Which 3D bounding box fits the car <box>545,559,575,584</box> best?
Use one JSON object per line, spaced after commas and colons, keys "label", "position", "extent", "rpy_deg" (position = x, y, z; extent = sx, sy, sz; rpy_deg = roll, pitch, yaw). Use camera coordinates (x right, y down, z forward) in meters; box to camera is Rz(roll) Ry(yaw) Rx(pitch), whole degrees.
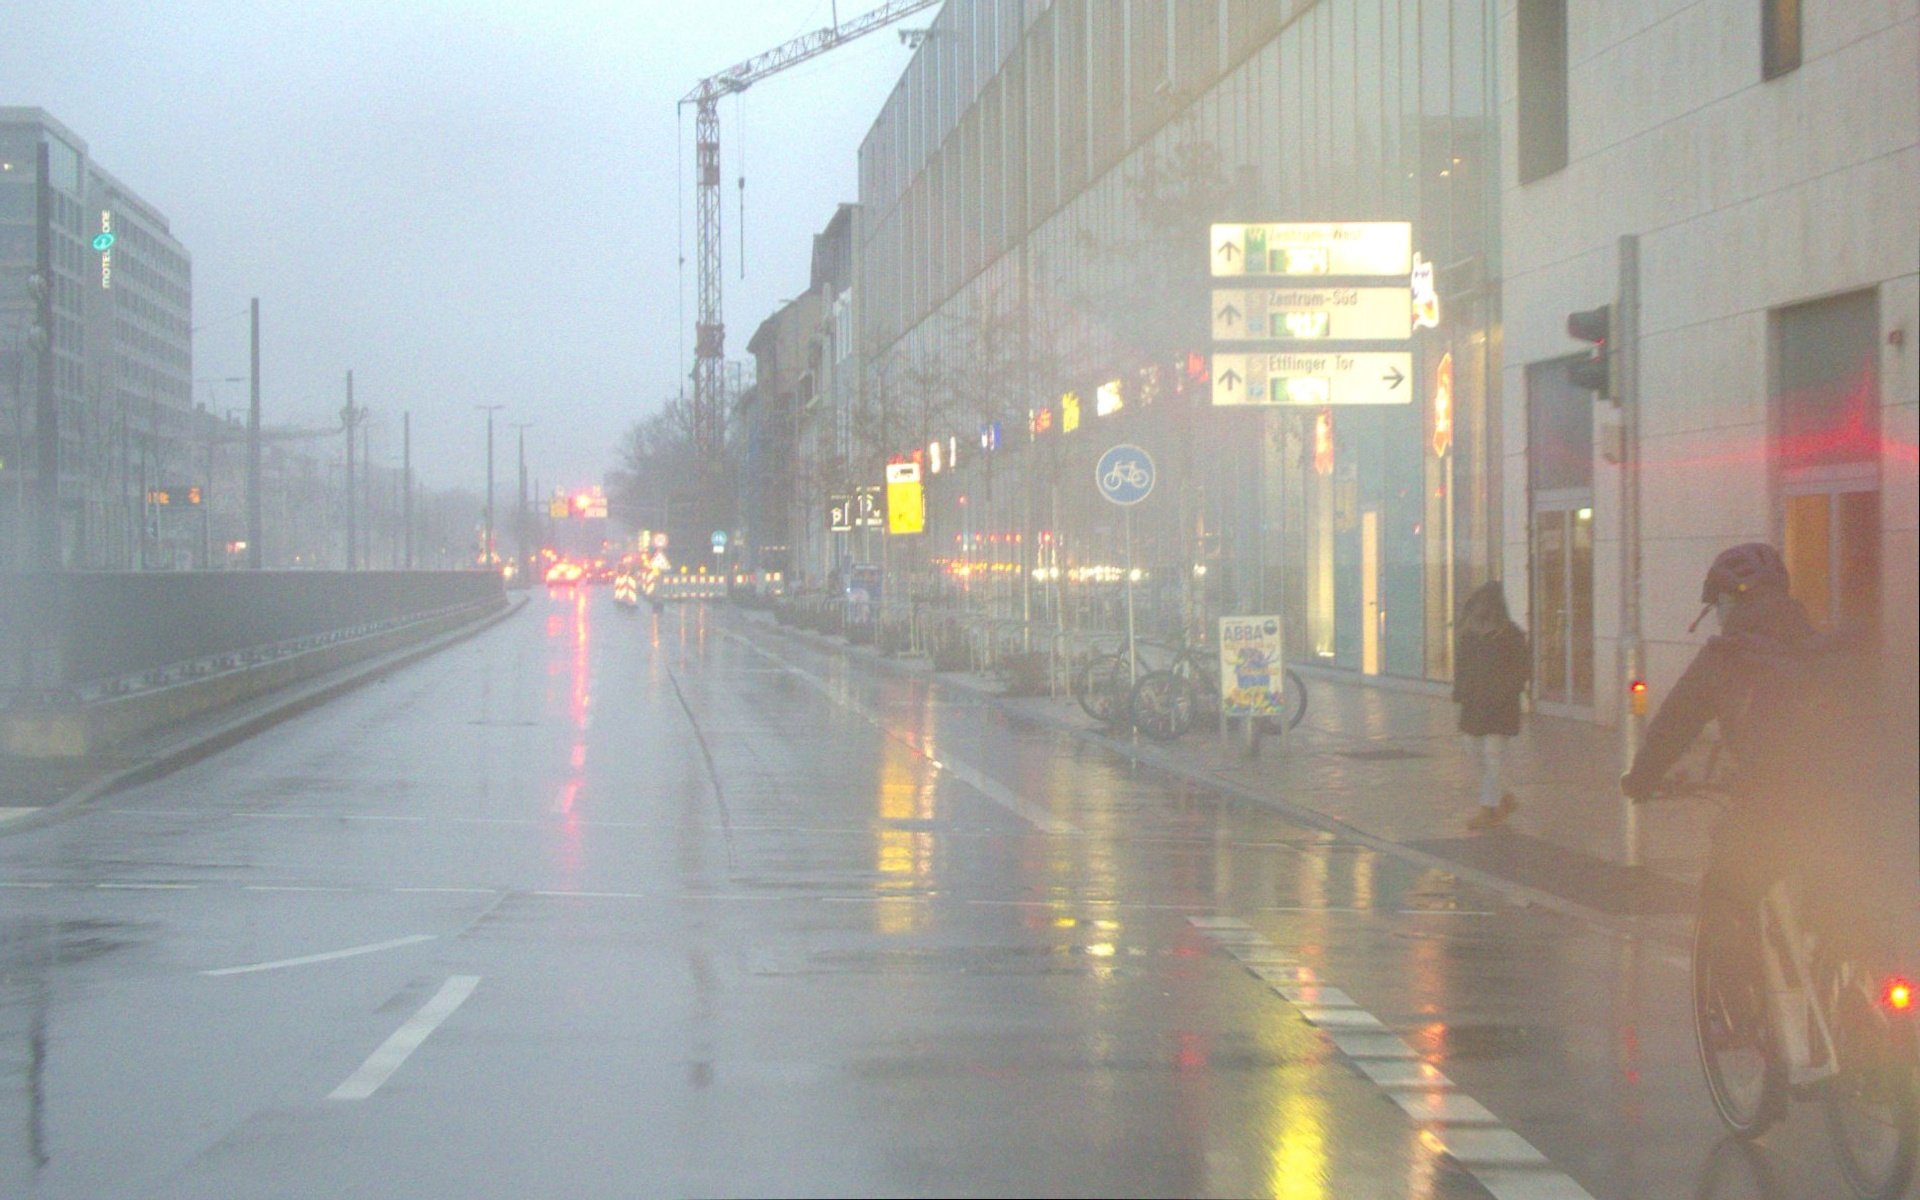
{"label": "car", "position": [-26.188, -1.871, 225.149], "extent": [1.900, 1.636, 4.001], "rpy_deg": [1, 1, -6]}

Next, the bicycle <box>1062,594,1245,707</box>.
{"label": "bicycle", "position": [2.122, 0.547, 37.823], "extent": [1.903, 1.171, 0.667], "rpy_deg": [-1, 1, -6]}

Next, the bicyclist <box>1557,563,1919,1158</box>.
{"label": "bicyclist", "position": [2.145, 0.638, 9.008], "extent": [0.943, 1.458, 1.066], "rpy_deg": [1, 0, -1]}

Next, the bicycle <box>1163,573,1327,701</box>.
{"label": "bicycle", "position": [2.879, 0.361, 34.859], "extent": [1.558, 1.257, 0.665], "rpy_deg": [1, 1, 42]}

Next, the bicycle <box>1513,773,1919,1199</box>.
{"label": "bicycle", "position": [2.137, 1.019, 9.119], "extent": [0.943, 0.996, 2.240], "rpy_deg": [1, 0, -1]}

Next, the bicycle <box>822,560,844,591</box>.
{"label": "bicycle", "position": [-5.091, -0.975, 137.763], "extent": [0.682, 1.218, 1.906], "rpy_deg": [-3, 1, -7]}

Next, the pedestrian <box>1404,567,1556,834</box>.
{"label": "pedestrian", "position": [3.390, 0.640, 22.450], "extent": [0.705, 1.689, 0.724], "rpy_deg": [-2, 1, -17]}
